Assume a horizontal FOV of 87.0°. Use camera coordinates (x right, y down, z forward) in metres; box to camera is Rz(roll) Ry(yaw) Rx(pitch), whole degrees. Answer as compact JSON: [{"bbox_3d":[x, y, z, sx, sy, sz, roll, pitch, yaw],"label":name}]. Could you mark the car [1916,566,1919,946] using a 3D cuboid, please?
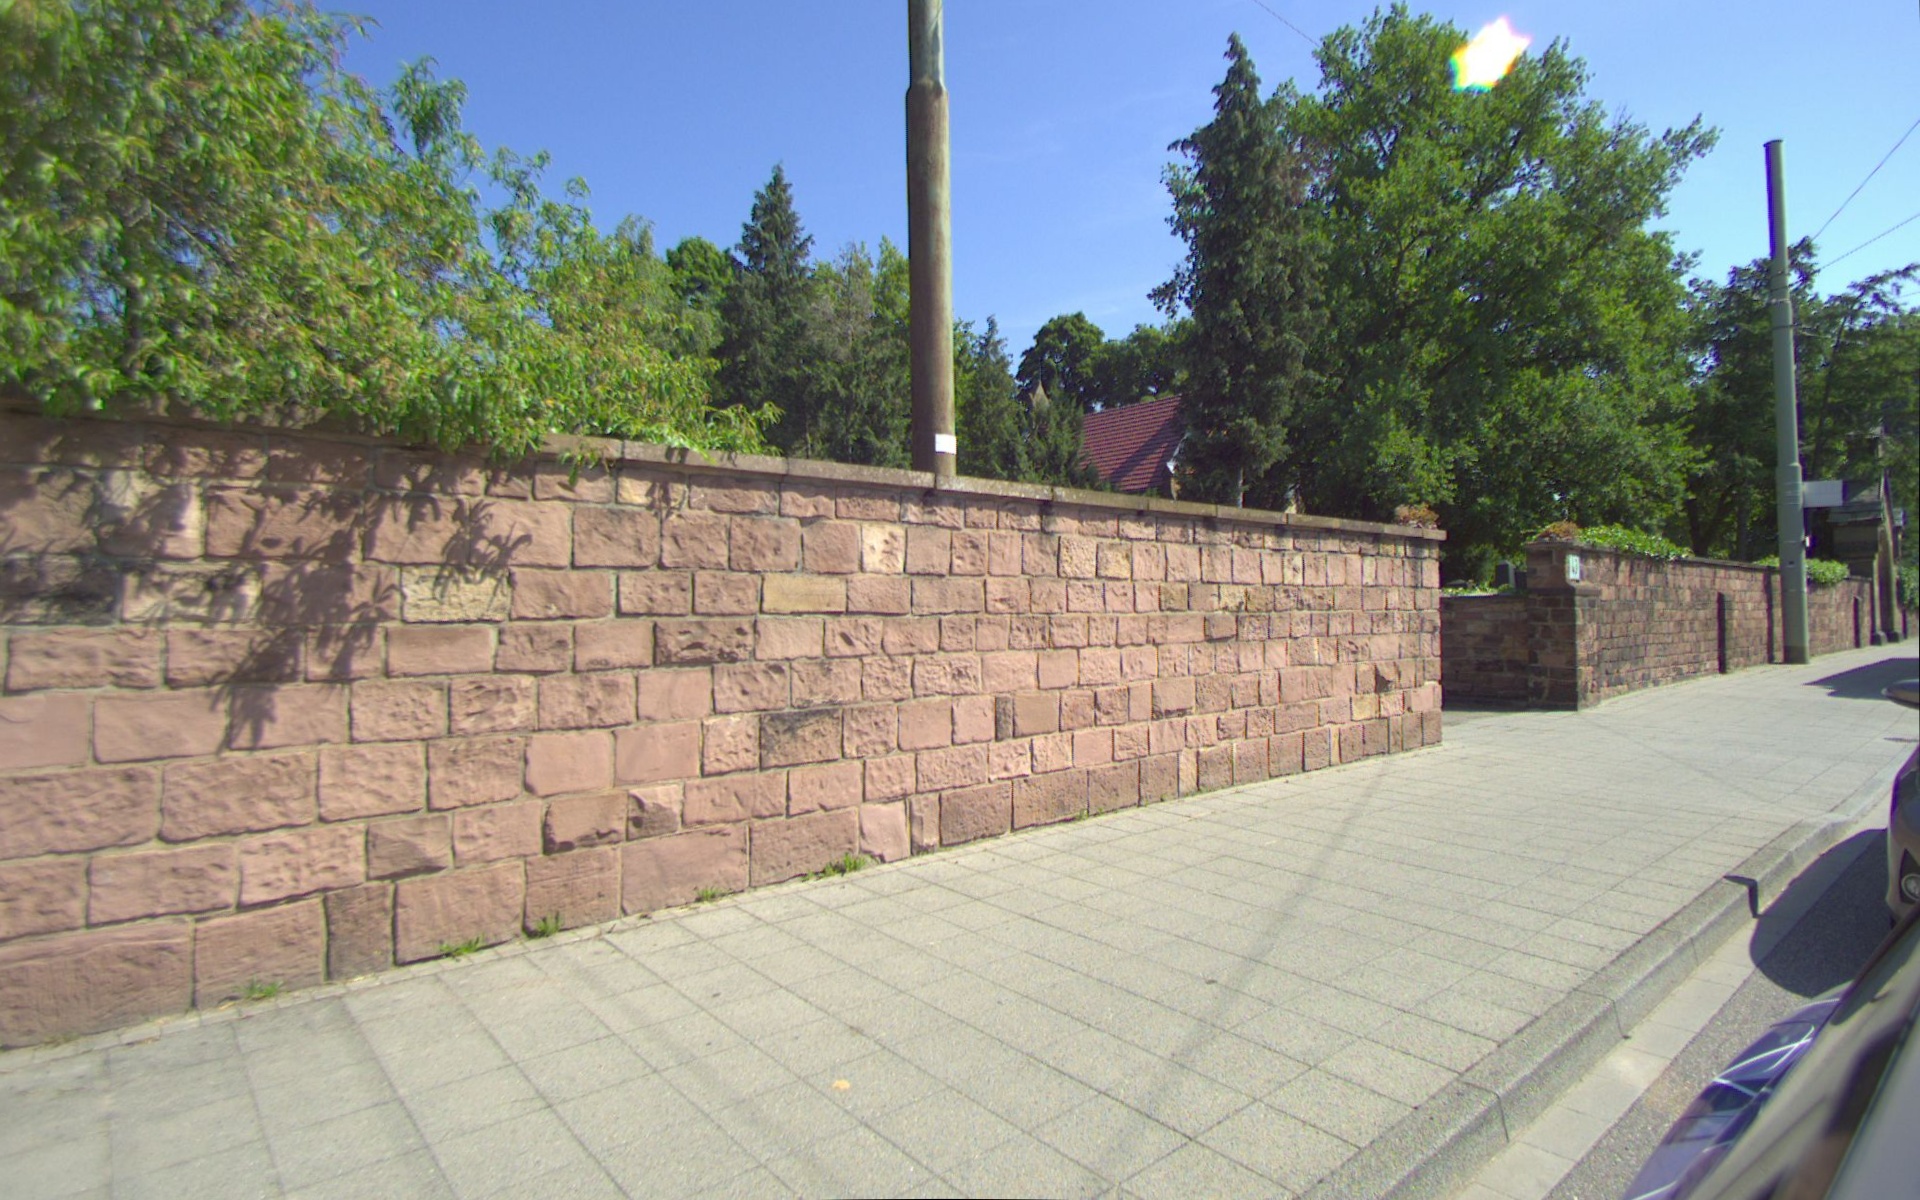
[{"bbox_3d":[5.543,0.574,4.402,3.930,1.400,1.653,0,0,-41],"label":"car"}]
